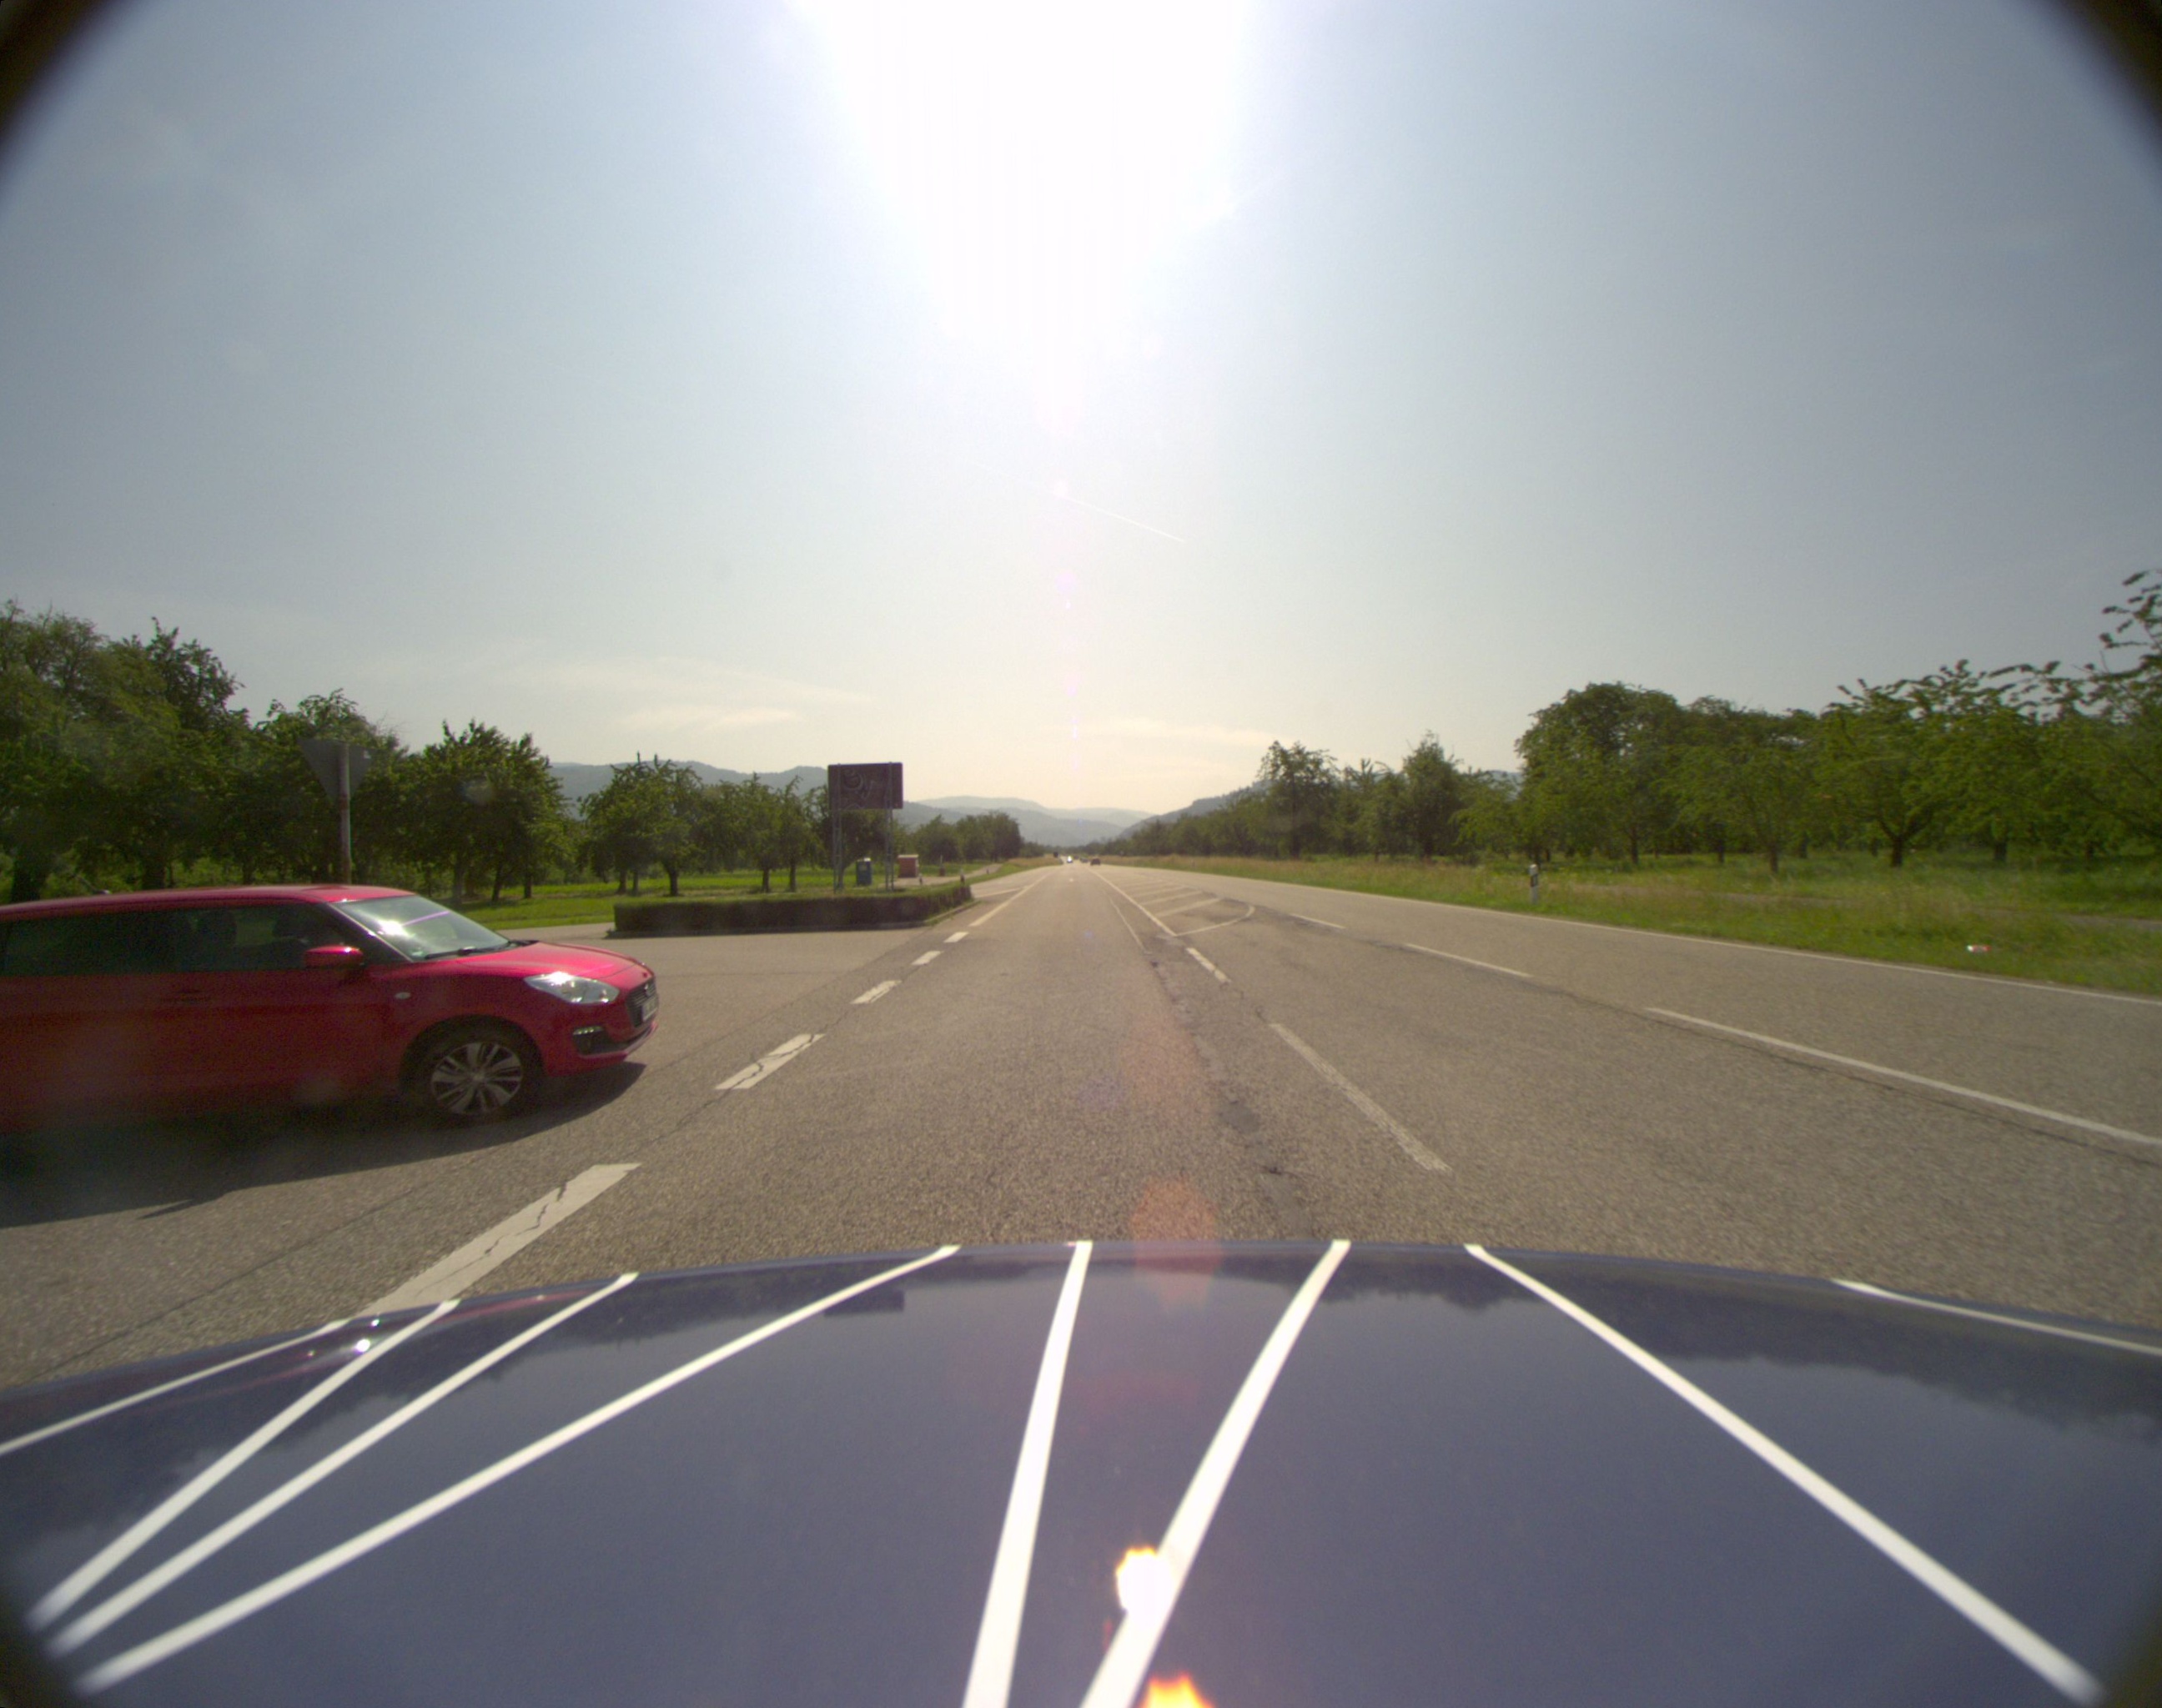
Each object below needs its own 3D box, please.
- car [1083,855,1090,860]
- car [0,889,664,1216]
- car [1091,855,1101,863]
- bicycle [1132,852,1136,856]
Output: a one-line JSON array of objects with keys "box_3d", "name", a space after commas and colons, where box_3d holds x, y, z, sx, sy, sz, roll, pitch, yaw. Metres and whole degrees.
[{"box_3d": [1.559, 0.942, 216.654, 1.679, 1.485, 4.136, -2, 0, -1], "name": "car"}, {"box_3d": [-5.008, 1.086, 4.923, 3.755, 1.484, 1.669, -2, 0, -19], "name": "car"}, {"box_3d": [2.786, 0.903, 144.096, 1.702, 1.408, 3.824, -1, 0, -3], "name": "car"}, {"box_3d": [13.037, 0.031, 186.365, 0.742, 0.983, 2.224, -2, 1, 0], "name": "bicycle"}]
